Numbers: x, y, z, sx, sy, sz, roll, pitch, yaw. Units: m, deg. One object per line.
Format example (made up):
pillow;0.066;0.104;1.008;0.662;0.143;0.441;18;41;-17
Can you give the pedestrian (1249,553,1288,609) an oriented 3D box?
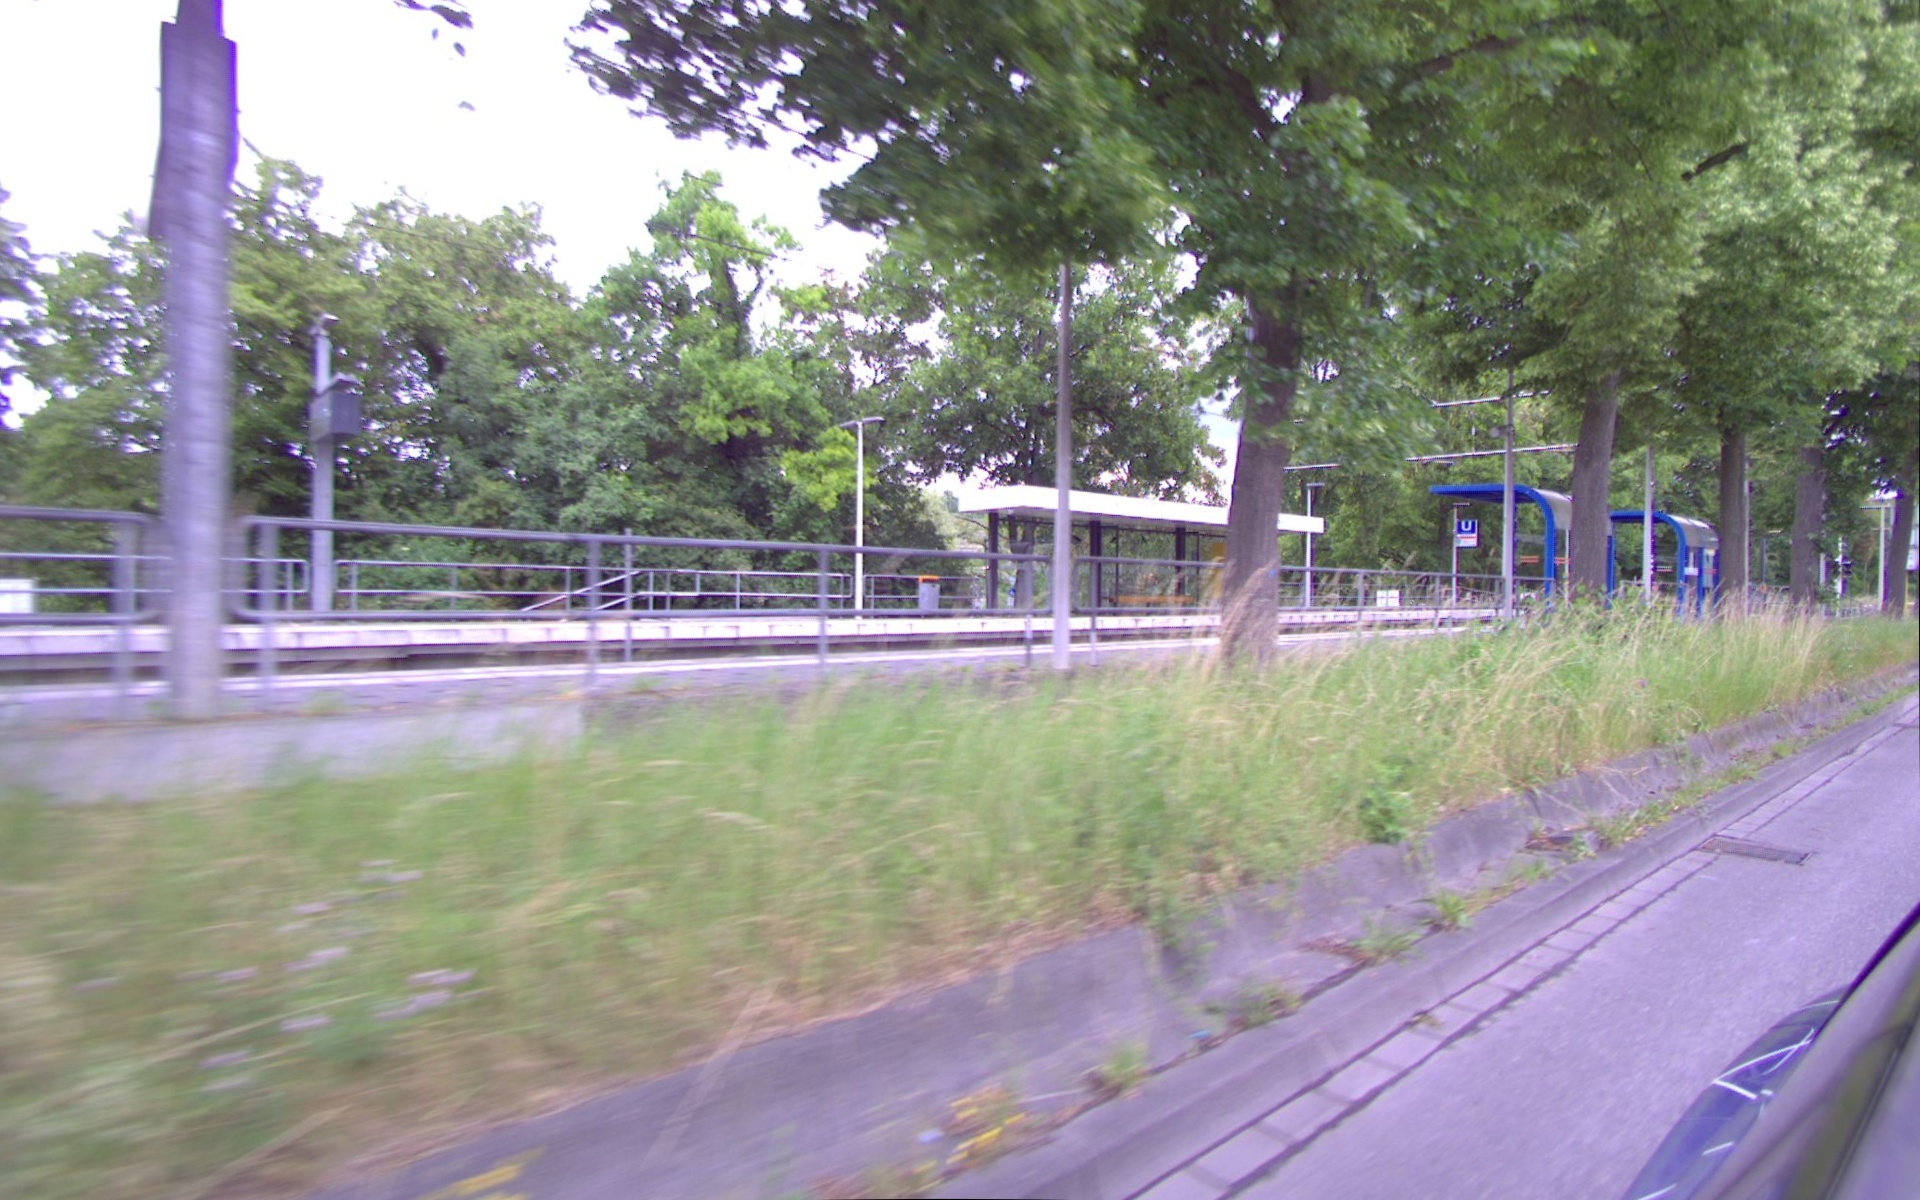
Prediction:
pedestrian;8.593;-0.535;28.188;0.711;1.530;0.720;-1;-1;-38
